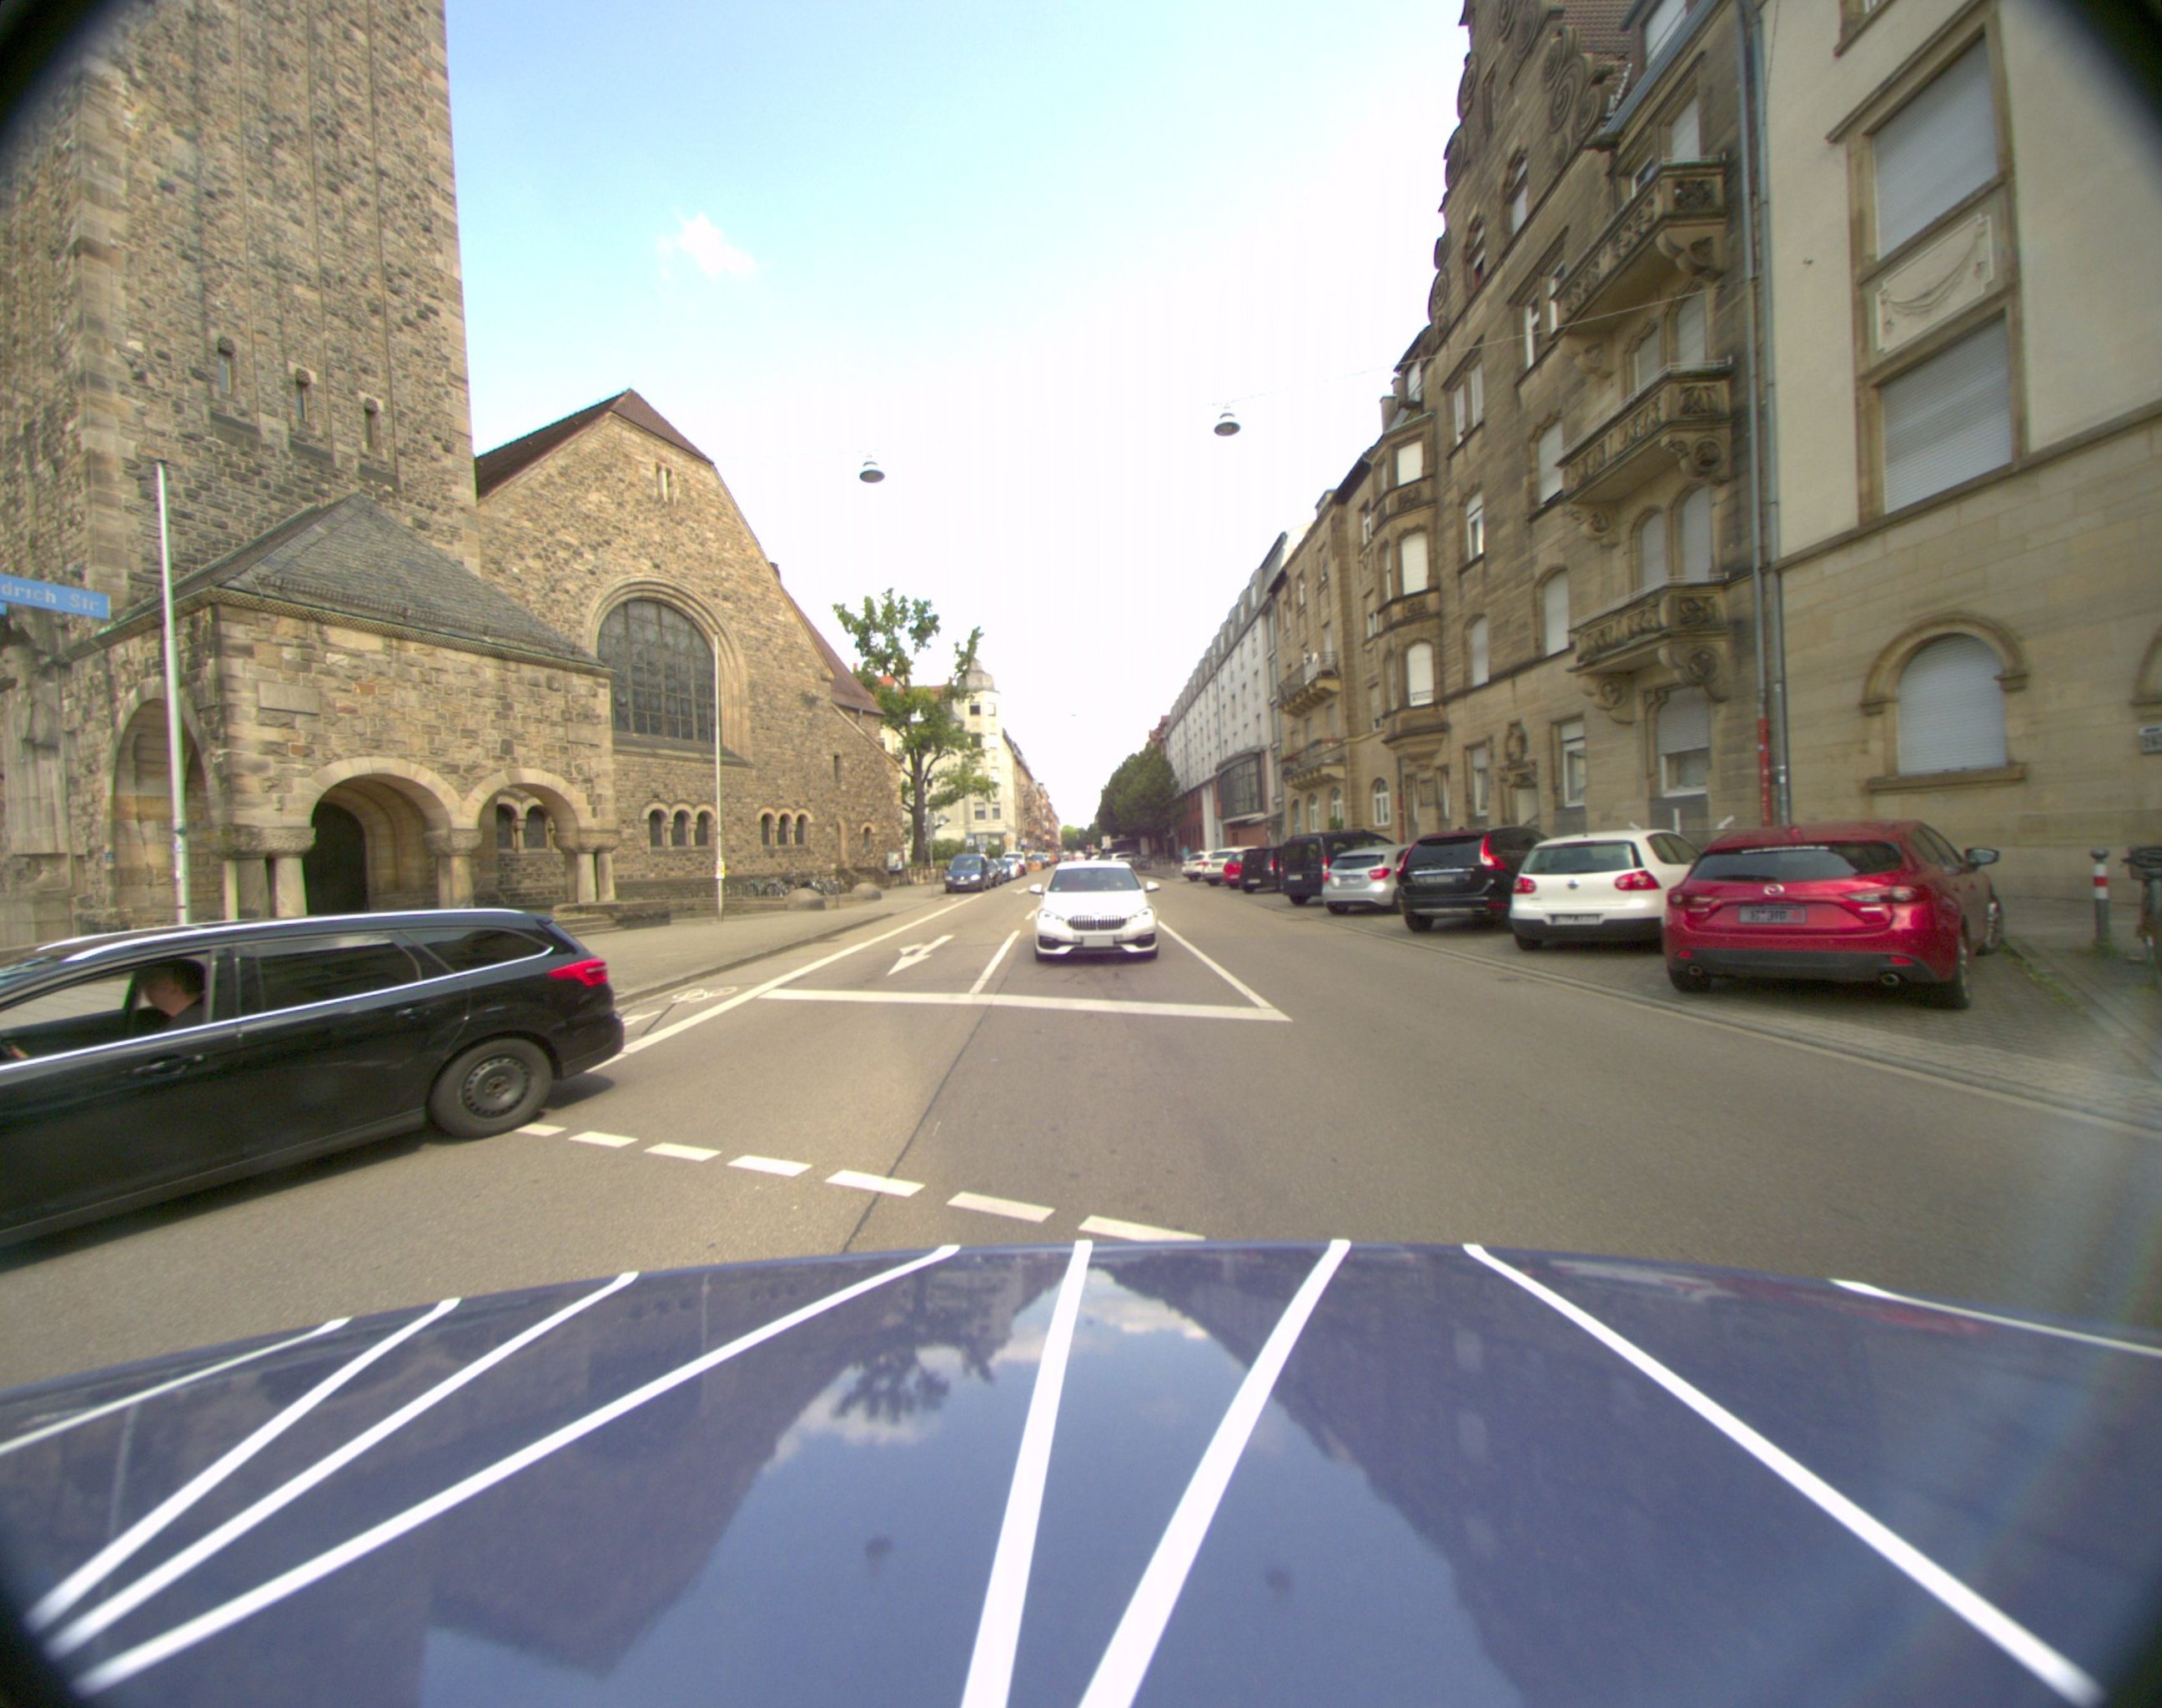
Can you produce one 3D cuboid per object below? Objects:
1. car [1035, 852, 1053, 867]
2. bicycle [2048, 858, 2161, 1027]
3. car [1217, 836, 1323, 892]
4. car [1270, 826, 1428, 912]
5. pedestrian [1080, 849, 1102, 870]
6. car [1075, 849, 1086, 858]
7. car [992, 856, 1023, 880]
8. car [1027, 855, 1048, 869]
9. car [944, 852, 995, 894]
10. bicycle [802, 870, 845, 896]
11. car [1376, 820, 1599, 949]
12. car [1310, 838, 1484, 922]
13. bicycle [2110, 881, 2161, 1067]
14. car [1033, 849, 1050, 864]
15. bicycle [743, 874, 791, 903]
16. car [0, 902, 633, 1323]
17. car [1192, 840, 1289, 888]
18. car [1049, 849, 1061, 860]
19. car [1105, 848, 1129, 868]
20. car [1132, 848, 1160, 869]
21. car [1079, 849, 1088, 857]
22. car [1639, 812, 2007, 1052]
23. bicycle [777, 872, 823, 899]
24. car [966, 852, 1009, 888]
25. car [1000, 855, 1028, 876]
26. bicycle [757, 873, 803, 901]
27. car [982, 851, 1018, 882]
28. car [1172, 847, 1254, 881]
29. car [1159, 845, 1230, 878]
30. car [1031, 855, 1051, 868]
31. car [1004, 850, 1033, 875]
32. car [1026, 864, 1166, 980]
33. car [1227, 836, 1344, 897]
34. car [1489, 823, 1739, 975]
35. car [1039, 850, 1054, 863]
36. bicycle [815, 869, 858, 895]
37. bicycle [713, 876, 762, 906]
[{"bbox_3d":[-4.358,0.612,90.424,1.809,1.675,4.186,-3,0,1],"label":"car"},{"bbox_3d":[8.229,0.627,5.956,1.908,1.046,0.556,-5,0,-44],"label":"bicycle"},{"bbox_3d":[7.174,0.362,28.649,3.960,1.576,1.727,-7,1,-39],"label":"car"},{"bbox_3d":[7.066,0.355,19.909,3.960,1.857,1.727,-5,1,-33],"label":"car"},{"bbox_3d":[0.849,0.484,65.439,1.316,1.747,1.370,-3,1,-35],"label":"pedestrian"},{"bbox_3d":[-0.103,-0.076,145.989,1.809,1.590,4.186,-3,0,1],"label":"car"},{"bbox_3d":[-5.045,0.936,52.623,1.683,1.438,3.798,-3,0,1],"label":"car"},{"bbox_3d":[-4.589,0.817,80.773,1.809,1.360,4.186,-3,0,1],"label":"car"},{"bbox_3d":[-5.243,0.846,36.263,1.683,1.780,4.145,-3,0,1],"label":"car"},{"bbox_3d":[-11.720,1.320,34.581,1.935,1.106,0.587,0,2,21],"label":"bicycle"},{"bbox_3d":[6.967,0.447,12.879,3.960,1.679,1.799,-6,0,-39],"label":"car"},{"bbox_3d":[7.124,0.553,16.974,3.960,1.421,1.727,-5,-1,-38],"label":"car"},{"bbox_3d":[6.734,0.756,4.427,0.556,1.046,1.815,-5,0,45],"label":"bicycle"},{"bbox_3d":[-4.914,0.313,94.961,1.809,1.756,4.186,-3,0,1],"label":"car"},{"bbox_3d":[-13.055,1.425,31.593,1.935,1.106,0.587,0,2,21],"label":"bicycle"},{"bbox_3d":[-5.084,1.209,3.935,1.781,1.525,4.393,-3,0,28],"label":"car"},{"bbox_3d":[6.730,0.403,31.942,3.960,1.576,1.727,-6,0,-39],"label":"car"},{"bbox_3d":[-4.711,0.104,137.252,1.809,1.901,4.186,-3,0,1],"label":"car"},{"bbox_3d":[3.163,0.333,67.387,1.891,1.641,3.890,-3,0,1],"label":"car"},{"bbox_3d":[5.118,0.351,60.015,1.891,1.556,3.890,-3,0,1],"label":"car"},{"bbox_3d":[0.486,-0.227,155.169,1.809,1.590,4.186,-3,0,1],"label":"car"},{"bbox_3d":[6.997,0.513,7.043,4.006,1.448,1.808,-6,0,-37],"label":"car"},{"bbox_3d":[-12.257,1.365,33.118,1.935,1.106,0.587,0,2,21],"label":"bicycle"},{"bbox_3d":[-5.059,0.839,41.607,1.683,1.780,4.000,-3,0,1],"label":"car"},{"bbox_3d":[-5.086,0.862,57.925,1.683,1.487,3.890,-3,0,1],"label":"car"},{"bbox_3d":[-12.776,1.402,32.254,1.935,1.106,0.587,0,2,21],"label":"bicycle"},{"bbox_3d":[-5.059,0.769,47.837,1.683,1.780,4.000,-3,0,1],"label":"car"},{"bbox_3d":[6.567,0.500,37.612,3.961,1.465,1.727,-3,0,-39],"label":"car"},{"bbox_3d":[6.648,0.410,44.414,3.961,1.576,1.727,-5,-1,-39],"label":"car"},{"bbox_3d":[-4.489,0.792,86.010,1.809,1.360,4.186,-3,0,1],"label":"car"},{"bbox_3d":[-5.095,0.664,62.365,1.844,1.927,4.186,-3,0,1],"label":"car"},{"bbox_3d":[0.250,0.930,12.319,1.826,1.439,4.386,-1,0,1],"label":"car"},{"bbox_3d":[7.015,0.406,25.858,3.960,1.576,1.727,-7,1,-39],"label":"car"},{"bbox_3d":[7.269,0.501,10.216,3.960,1.448,1.727,-6,0,-41],"label":"car"},{"bbox_3d":[-4.867,0.305,108.129,1.809,1.756,4.186,-3,0,1],"label":"car"},{"bbox_3d":[-11.379,1.293,35.311,1.935,1.106,0.587,0,2,21],"label":"bicycle"},{"bbox_3d":[-13.619,1.472,30.119,1.935,1.106,0.587,0,2,21],"label":"bicycle"}]
